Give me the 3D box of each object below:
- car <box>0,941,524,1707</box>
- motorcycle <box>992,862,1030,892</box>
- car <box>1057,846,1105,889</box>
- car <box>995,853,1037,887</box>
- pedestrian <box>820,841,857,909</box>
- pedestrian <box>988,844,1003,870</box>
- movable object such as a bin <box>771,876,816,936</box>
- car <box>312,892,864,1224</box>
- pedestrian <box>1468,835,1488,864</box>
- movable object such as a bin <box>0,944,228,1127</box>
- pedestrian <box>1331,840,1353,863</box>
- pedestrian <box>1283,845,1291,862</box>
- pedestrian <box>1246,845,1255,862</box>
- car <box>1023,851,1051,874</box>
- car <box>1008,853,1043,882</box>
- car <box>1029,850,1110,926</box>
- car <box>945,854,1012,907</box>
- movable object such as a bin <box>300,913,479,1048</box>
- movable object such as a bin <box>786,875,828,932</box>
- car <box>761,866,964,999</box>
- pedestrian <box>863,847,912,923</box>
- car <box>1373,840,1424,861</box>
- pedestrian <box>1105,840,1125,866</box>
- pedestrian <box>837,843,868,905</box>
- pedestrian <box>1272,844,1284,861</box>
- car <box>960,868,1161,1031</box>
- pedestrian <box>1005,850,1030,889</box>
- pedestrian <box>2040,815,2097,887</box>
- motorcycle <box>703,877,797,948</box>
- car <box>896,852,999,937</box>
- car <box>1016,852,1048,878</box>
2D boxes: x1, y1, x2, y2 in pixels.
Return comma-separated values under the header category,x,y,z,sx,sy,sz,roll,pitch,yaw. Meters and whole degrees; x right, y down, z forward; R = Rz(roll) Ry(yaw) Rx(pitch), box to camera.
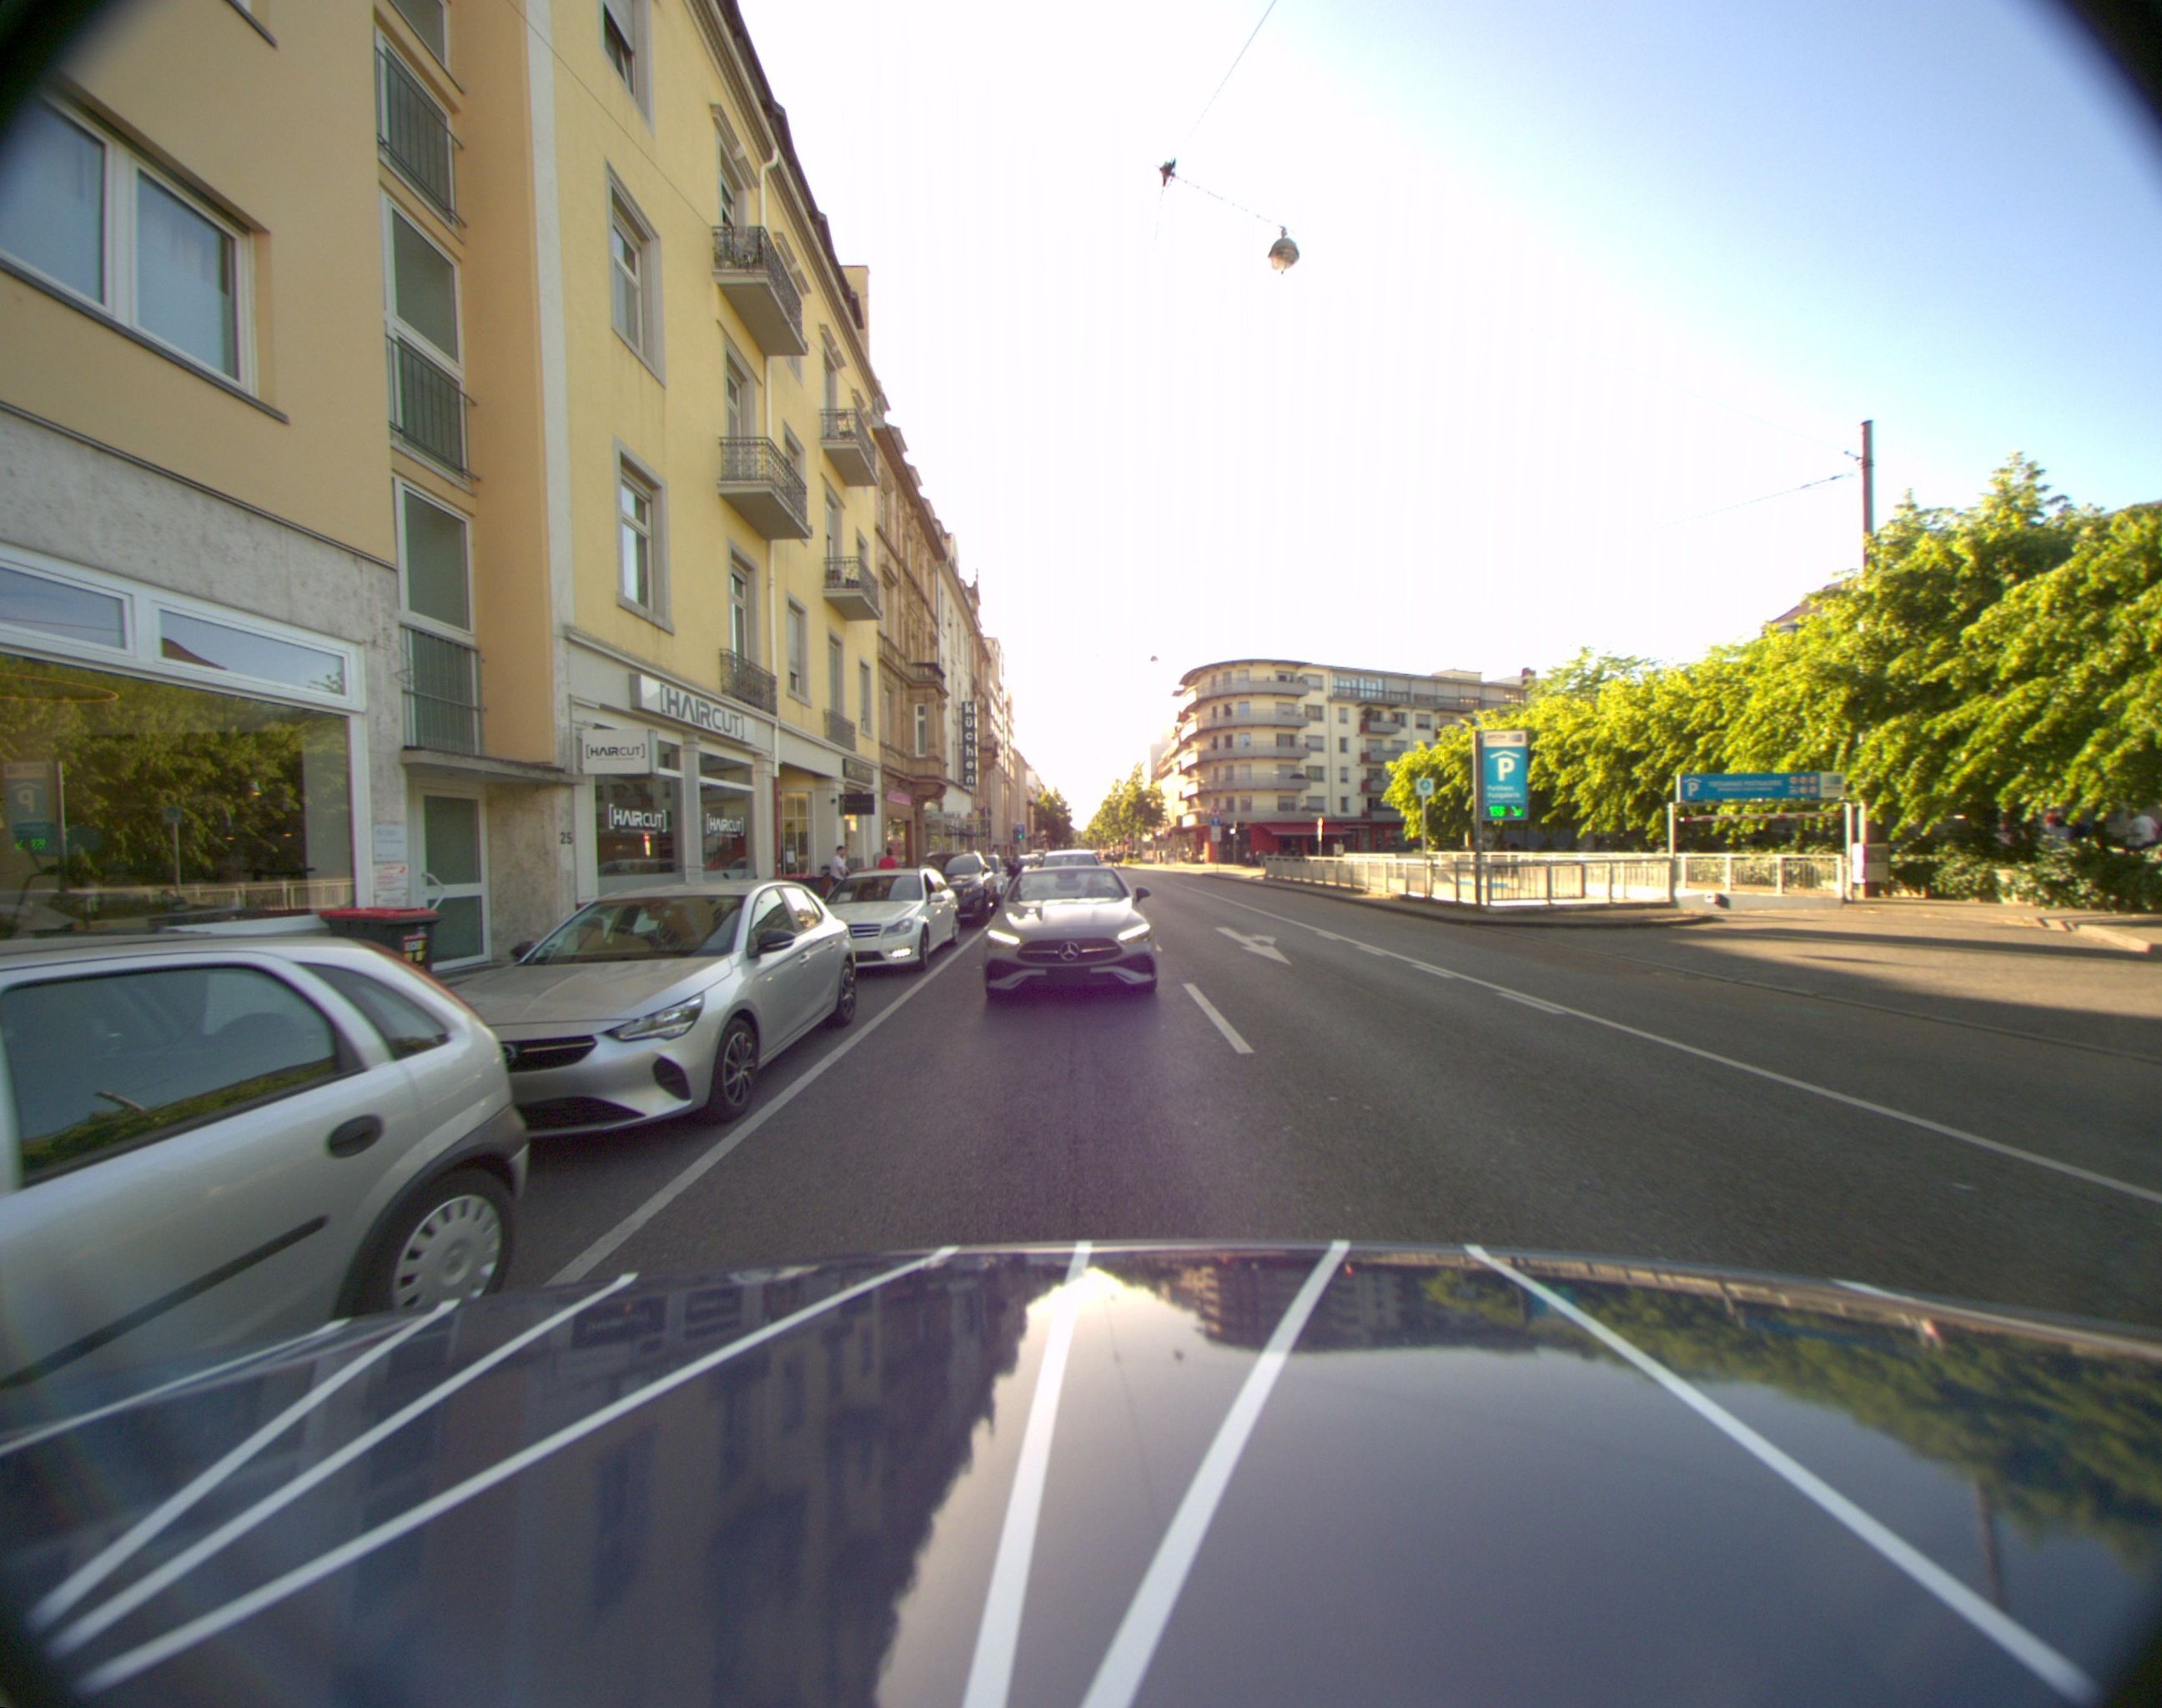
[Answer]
category,x,y,z,sx,sy,sz,roll,pitch,yaw
car,-2.910,1.057,0.942,1.617,1.374,3.642,-3,1,1
motorcycle,-3.071,1.003,33.383,0.769,1.225,1.546,-1,1,42
car,0.020,0.544,33.884,1.952,1.742,4.000,-2,1,1
car,-3.132,0.733,37.320,1.715,1.477,3.999,-2,1,-1
pedestrian,-5.938,0.510,18.621,0.642,1.607,0.701,-2,1,-1
pedestrian,-5.330,0.167,47.569,0.795,1.607,0.763,-2,1,-2
movable object such as a bin,-6.070,1.089,16.075,0.647,1.200,0.644,-2,1,1
car,-2.969,1.107,5.628,1.654,1.390,3.705,-2,1,-1
pedestrian,24.794,-0.278,47.404,0.755,1.795,0.756,-2,1,-16
movable object such as a bin,-6.292,1.140,4.921,0.812,1.022,0.602,-2,1,1
pedestrian,22.717,-0.226,66.223,1.234,2.002,1.259,-2,1,-22
pedestrian,17.926,-0.044,66.124,0.581,1.481,0.793,-2,1,13
pedestrian,14.925,-0.038,66.910,0.791,1.452,0.583,-2,1,10
car,-3.104,0.586,54.186,1.715,1.477,4.062,-2,1,-1
car,-3.095,0.740,43.075,1.715,1.477,3.999,-2,1,-1
car,-0.226,0.745,18.662,1.716,1.599,4.000,-2,1,1
car,-3.274,0.818,24.760,1.696,1.559,3.018,-2,1,1
movable object such as a bin,-6.213,1.106,6.885,0.752,1.047,0.893,-2,1,1
movable object such as a bin,-6.022,1.078,16.727,0.647,1.200,0.644,-2,1,1
car,-3.027,0.998,11.581,1.759,1.453,4.597,-2,1,-1
pedestrian,-4.735,0.746,18.681,0.866,1.774,1.008,2,2,1
car,28.901,-0.334,69.133,4.004,1.740,1.996,-2,1,-23
pedestrian,2.683,-0.048,60.149,1.200,2.002,1.019,-2,1,-18
pedestrian,-6.055,0.528,20.154,0.572,1.607,0.643,-2,1,1
pedestrian,17.559,-0.108,67.801,0.583,1.453,0.790,-3,1,-37
car,-0.219,0.943,9.346,1.849,1.371,4.255,-2,1,-1
pedestrian,-2.769,0.664,33.167,0.832,1.657,0.695,-1,1,27
pedestrian,23.627,-0.069,18.177,0.848,1.661,0.677,-3,1,-27
motorcycle,-6.219,1.055,14.413,0.774,1.158,2.247,1,1,1
car,-3.010,0.820,18.099,1.858,1.688,4.696,-2,1,-4
car,-3.041,0.677,47.592,1.715,1.477,3.999,-2,1,-1
